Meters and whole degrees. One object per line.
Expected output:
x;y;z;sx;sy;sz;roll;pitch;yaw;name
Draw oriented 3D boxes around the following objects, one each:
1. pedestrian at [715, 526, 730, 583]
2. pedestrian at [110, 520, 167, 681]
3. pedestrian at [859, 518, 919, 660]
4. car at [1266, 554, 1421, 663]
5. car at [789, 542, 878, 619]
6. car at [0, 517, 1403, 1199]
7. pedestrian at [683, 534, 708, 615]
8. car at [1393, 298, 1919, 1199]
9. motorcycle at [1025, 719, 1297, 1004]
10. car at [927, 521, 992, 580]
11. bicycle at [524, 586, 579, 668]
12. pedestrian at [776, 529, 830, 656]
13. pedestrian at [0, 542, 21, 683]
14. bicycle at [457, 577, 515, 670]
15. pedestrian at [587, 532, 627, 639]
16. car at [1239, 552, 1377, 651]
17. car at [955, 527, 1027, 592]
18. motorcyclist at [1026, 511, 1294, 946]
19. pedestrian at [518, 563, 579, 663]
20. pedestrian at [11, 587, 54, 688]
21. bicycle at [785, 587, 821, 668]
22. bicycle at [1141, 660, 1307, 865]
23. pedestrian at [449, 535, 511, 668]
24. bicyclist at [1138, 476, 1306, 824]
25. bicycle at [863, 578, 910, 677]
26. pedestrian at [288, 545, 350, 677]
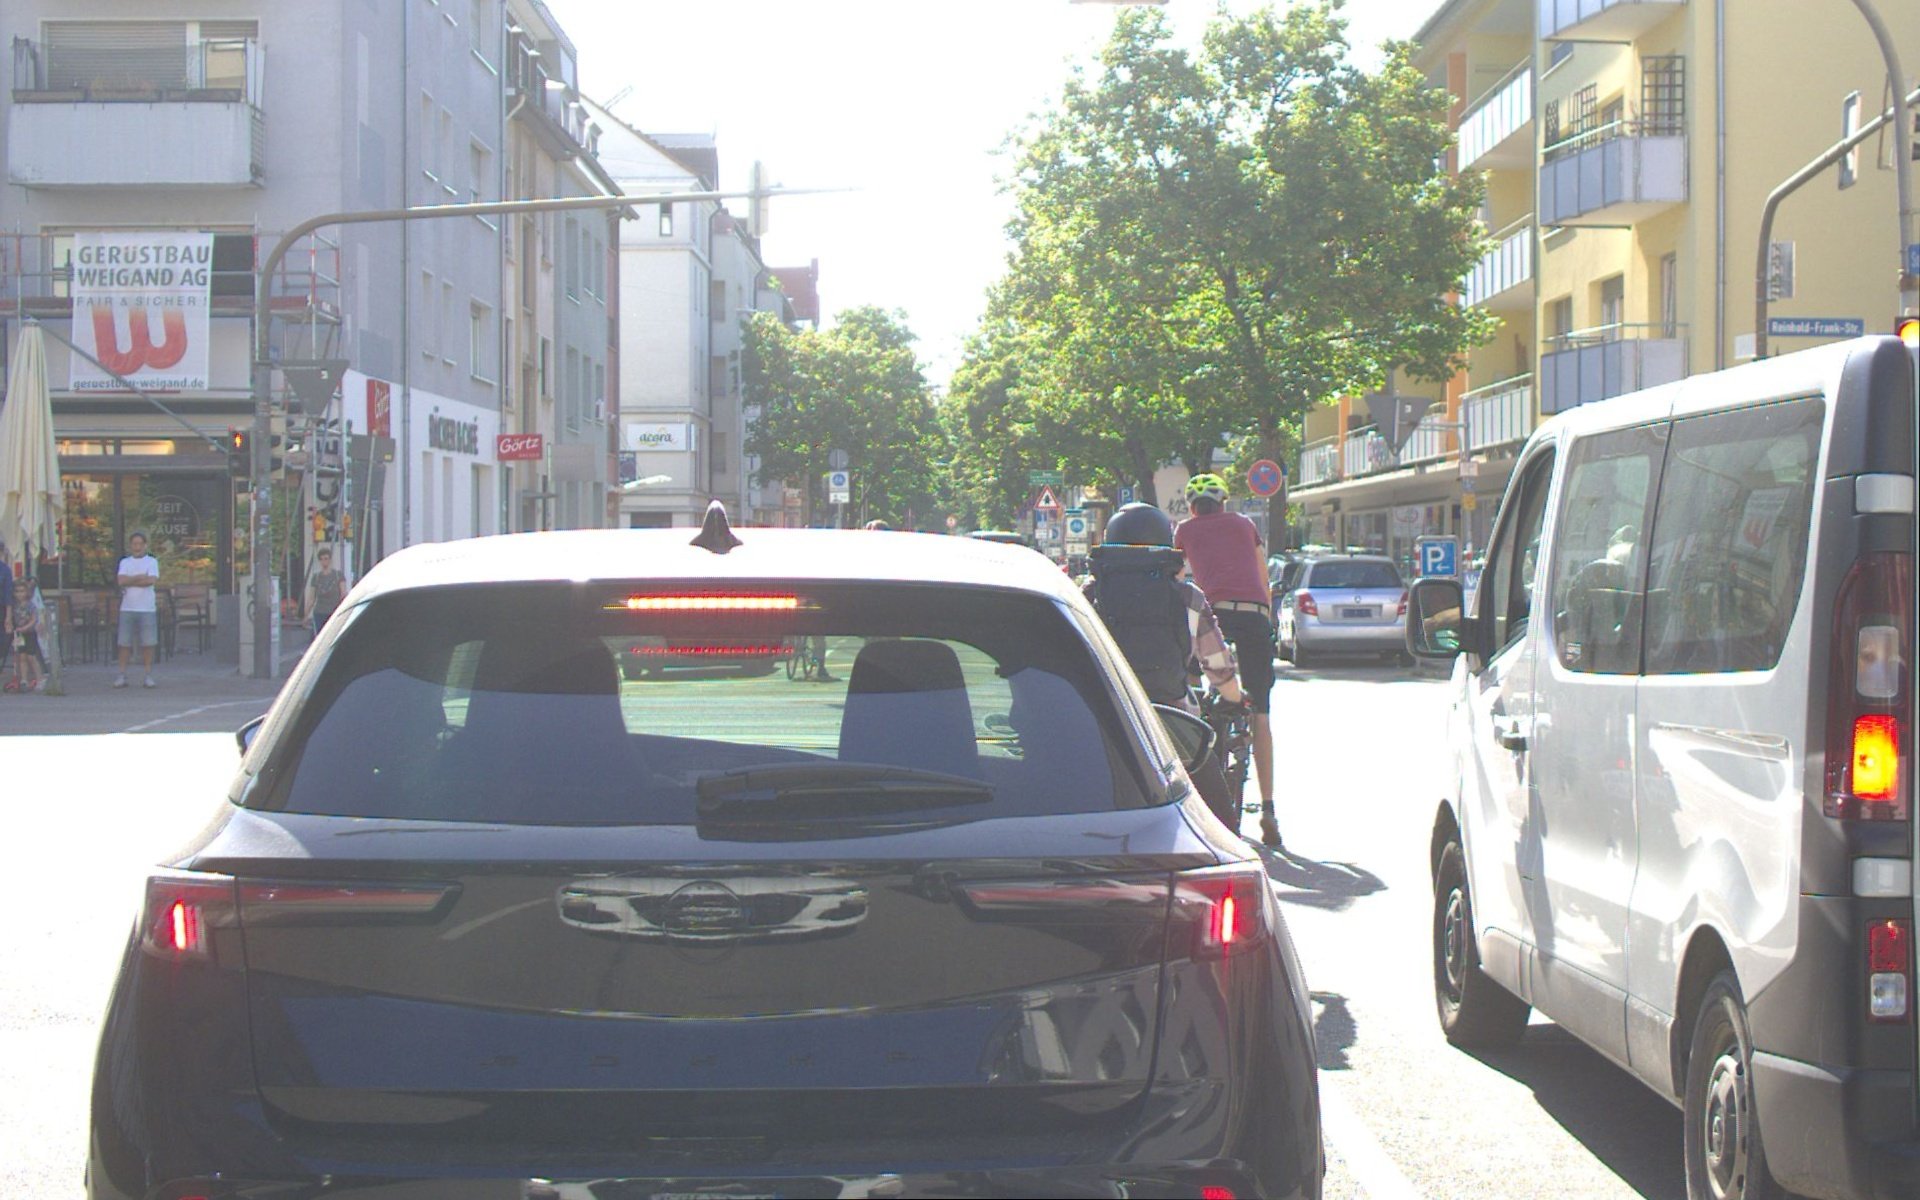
-6.954;-1.336;100.739;0.402;1.669;0.418;0;1;-1;pedestrian
-9.077;0.004;37.984;0.561;1.769;0.584;0;1;-9;pedestrian
-0.864;-0.133;41.467;0.706;1.695;0.802;0;1;-2;pedestrian
5.224;0.086;47.231;1.634;1.428;3.957;0;1;-1;car
-2.877;-0.462;79.000;1.825;1.722;4.000;0;1;1;car
-0.414;0.629;6.302;1.770;1.525;4.001;0;1;-2;car
-5.542;-0.542;71.993;0.488;1.684;0.588;0;1;-1;pedestrian
2.455;0.440;8.509;1.993;1.972;4.896;1;1;-1;car
0.681;0.897;12.299;0.825;0.842;1.885;0;1;-1;motorcycle
-0.010;-1.502;103.964;1.902;1.722;4.000;0;1;0;car
-5.205;0.329;43.918;0.521;0.989;2.340;0;1;-2;bicycle
-1.992;-0.103;43.753;0.680;1.600;0.762;0;1;-2;pedestrian
-10.587;0.129;37.404;0.584;1.516;0.650;0;1;-3;pedestrian
-6.045;0.287;43.927;0.521;1.143;2.284;0;1;-2;bicycle
-5.554;-0.232;54.145;0.570;1.684;0.588;0;1;-1;pedestrian
5.212;-0.003;51.937;1.634;1.428;4.000;0;1;-1;car
0.819;-1.113;92.867;1.902;1.722;4.073;0;1;0;car
0.698;0.433;12.403;0.864;1.497;1.160;0;1;-2;motorcyclist
-5.212;0.160;43.573;0.706;1.249;0.802;0;1;-2;pedestrian
-10.110;0.406;37.475;0.355;1.088;0.462;0;1;-3;pedestrian
-2.000;0.336;43.804;0.443;0.989;2.069;0;1;-2;bicycle
1.328;0.800;17.634;0.577;0.901;2.301;0;1;-2;bicycle
-6.097;0.012;43.666;0.706;1.672;0.802;0;1;-2;pedestrian
1.324;0.234;17.587;0.689;1.707;1.414;0;1;-2;bicyclist
-0.896;0.311;41.531;0.521;1.143;2.170;0;1;-2;bicycle
-7.450;0.120;39.951;0.617;1.516;0.725;0;1;-3;pedestrian
